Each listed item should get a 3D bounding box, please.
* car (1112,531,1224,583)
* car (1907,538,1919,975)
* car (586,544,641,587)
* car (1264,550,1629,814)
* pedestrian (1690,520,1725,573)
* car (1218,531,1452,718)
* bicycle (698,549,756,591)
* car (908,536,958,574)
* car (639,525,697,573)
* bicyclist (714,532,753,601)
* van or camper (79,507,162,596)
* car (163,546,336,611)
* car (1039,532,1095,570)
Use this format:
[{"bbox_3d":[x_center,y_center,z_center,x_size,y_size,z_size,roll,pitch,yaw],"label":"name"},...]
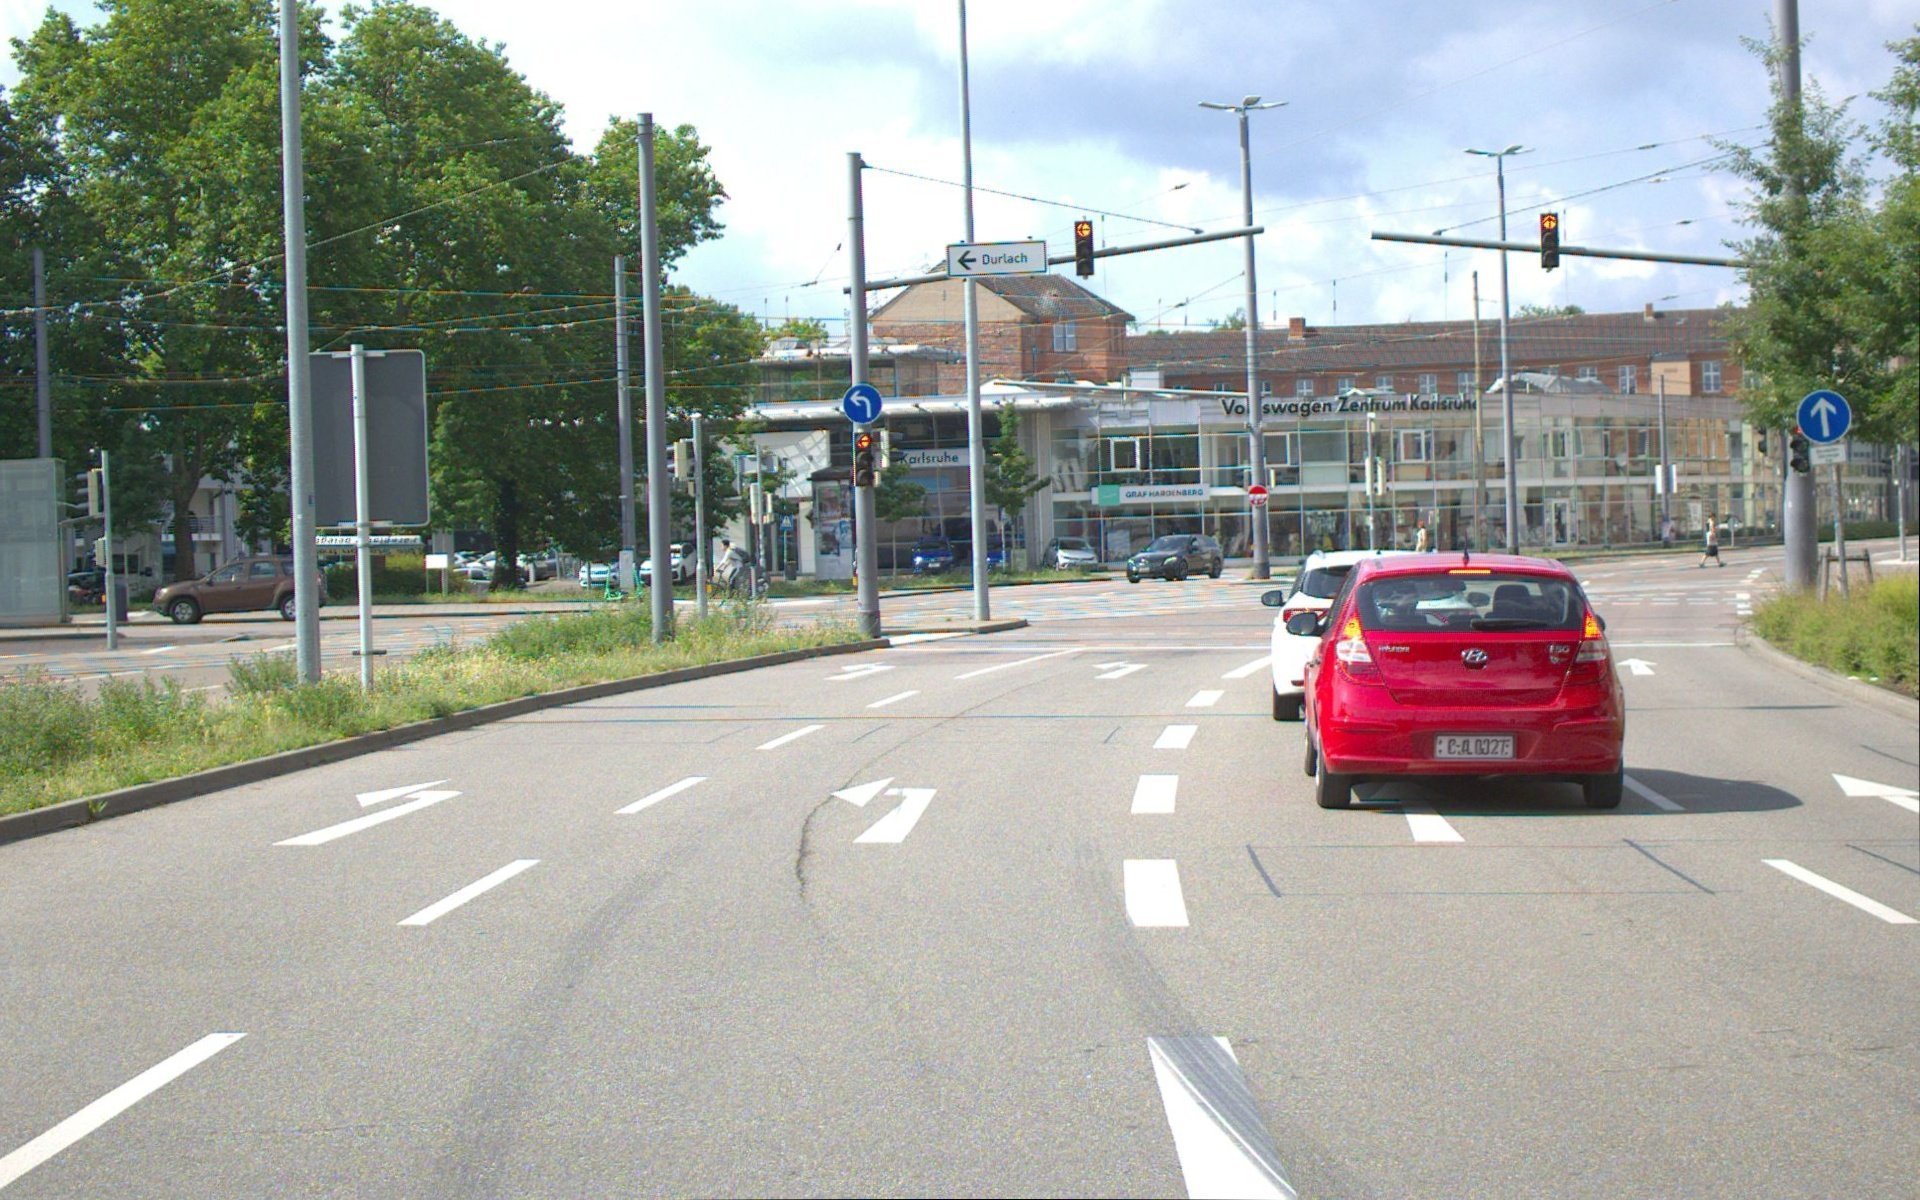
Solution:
[{"bbox_3d":[6.564,-1.360,108.159,1.996,1.525,3.994,-1,1,28],"label":"car"},{"bbox_3d":[4.002,0.546,9.819,1.806,1.503,4.204,-1,0,6],"label":"car"},{"bbox_3d":[-15.034,-1.512,149.422,1.798,1.763,4.000,-2,1,2],"label":"car"},{"bbox_3d":[2.879,0.425,21.119,1.816,1.434,4.067,0,1,2],"label":"car"},{"bbox_3d":[21.828,-1.572,100.383,0.673,1.530,0.674,-2,1,-32],"label":"pedestrian"},{"bbox_3d":[3.257,0.161,30.224,1.848,1.467,4.334,-2,1,5],"label":"car"},{"bbox_3d":[-6.354,-0.815,93.778,1.464,1.113,0.587,-2,1,-14],"label":"bicycle"},{"bbox_3d":[-1.139,-1.927,146.155,1.993,1.546,4.078,-1,1,1],"label":"car"},{"bbox_3d":[-12.671,-2.224,149.423,1.993,2.007,4.000,-2,1,2],"label":"car"},{"bbox_3d":[-6.174,-0.913,93.808,0.885,1.864,0.764,-2,1,-13],"label":"bicyclist"},{"bbox_3d":[-28.805,-1.660,117.864,2.580,2.898,6.101,-2,1,-15],"label":"van or camper"},{"bbox_3d":[-17.665,-0.540,85.590,4.066,1.503,1.814,-2,1,-8],"label":"car"},{"bbox_3d":[4.543,-2.093,146.559,1.993,1.590,4.001,-1,1,-4],"label":"car"}]
